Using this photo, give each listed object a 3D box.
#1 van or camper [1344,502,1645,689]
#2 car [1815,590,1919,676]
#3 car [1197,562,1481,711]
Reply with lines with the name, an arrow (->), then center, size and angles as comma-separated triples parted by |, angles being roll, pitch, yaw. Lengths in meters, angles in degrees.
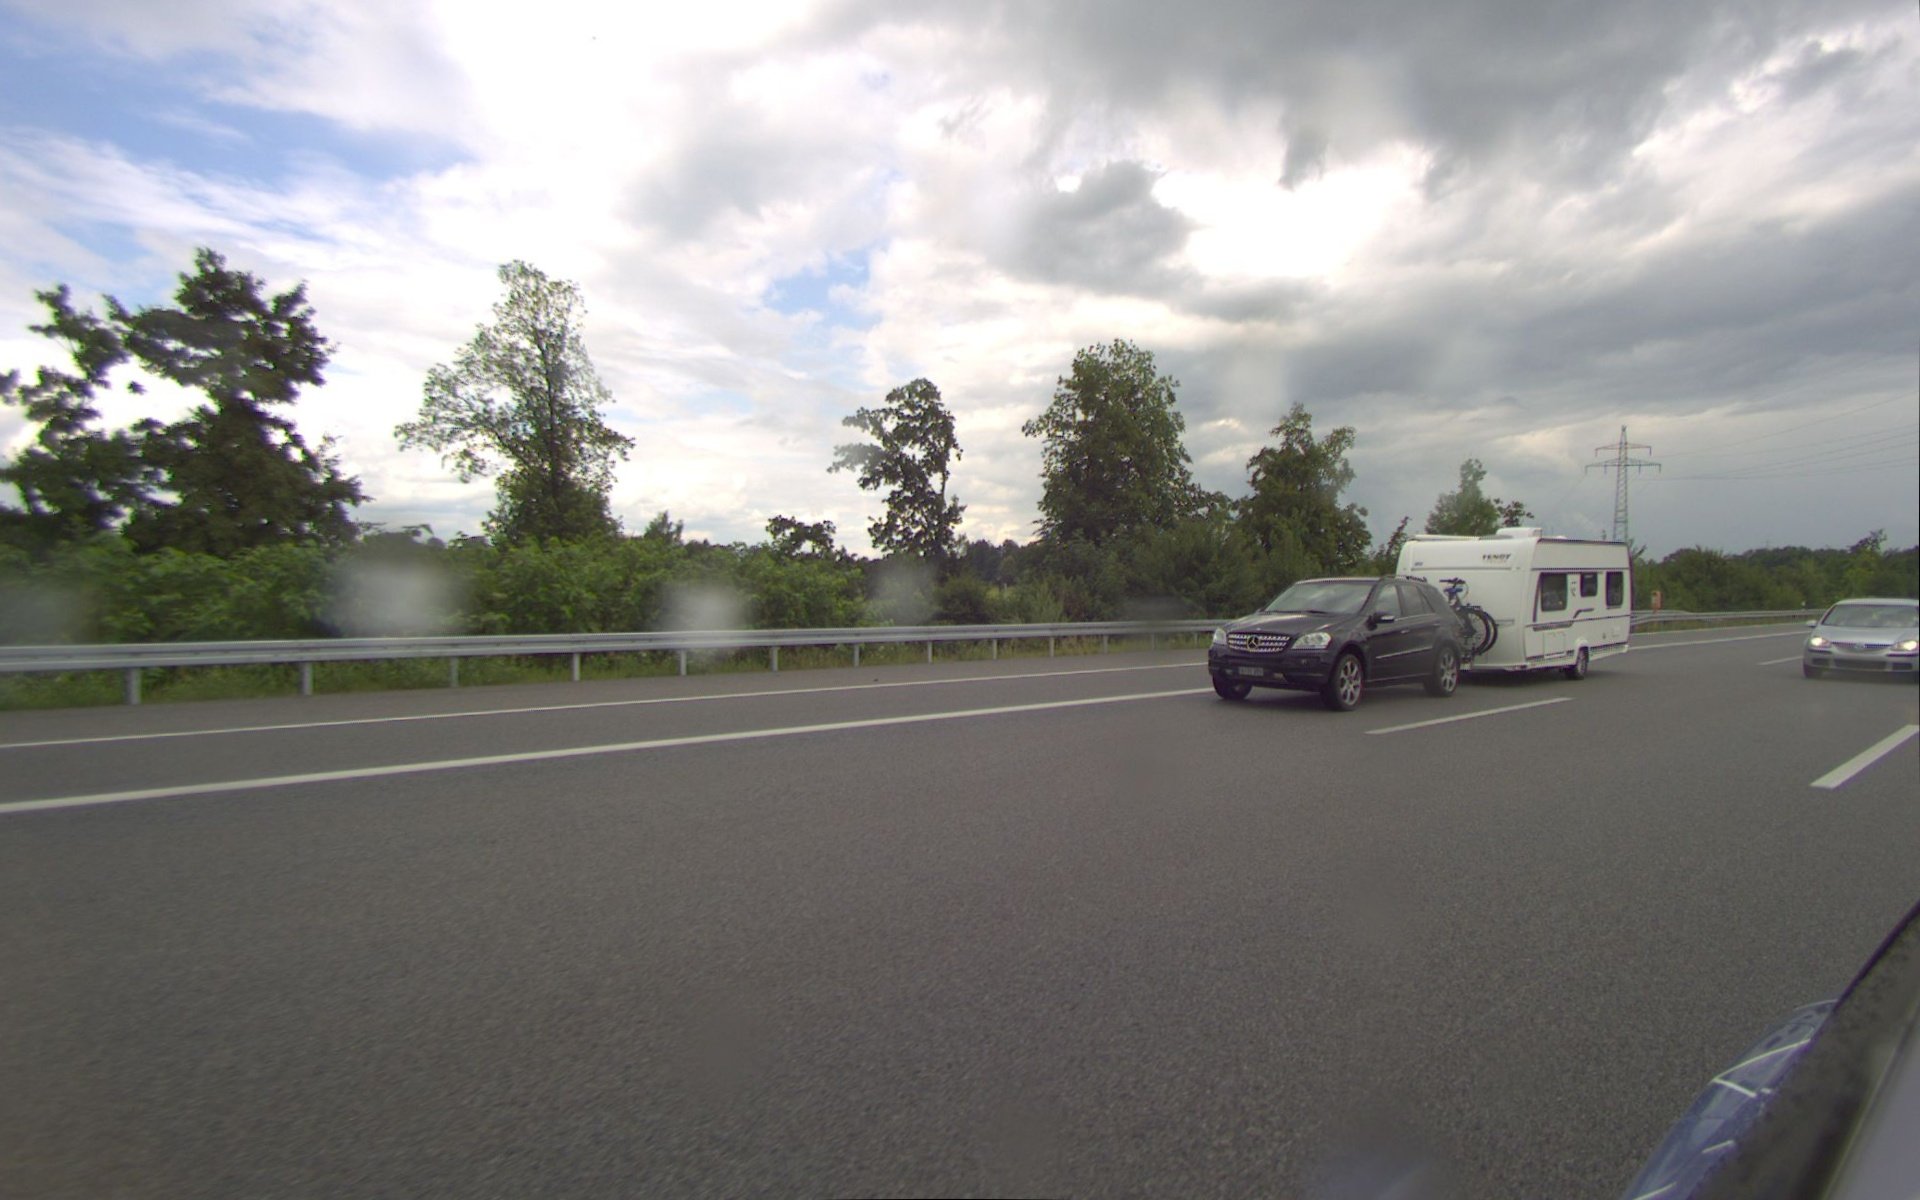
van or camper -> 9.857, -0.089, 18.276 | 7.082, 2.773, 2.388 | 0, 0, -41
car -> 17.517, 0.555, 18.980 | 3.930, 1.464, 1.682 | 0, 1, -41
car -> 5.509, 0.423, 14.428 | 4.423, 1.798, 1.923 | 0, 0, -41
